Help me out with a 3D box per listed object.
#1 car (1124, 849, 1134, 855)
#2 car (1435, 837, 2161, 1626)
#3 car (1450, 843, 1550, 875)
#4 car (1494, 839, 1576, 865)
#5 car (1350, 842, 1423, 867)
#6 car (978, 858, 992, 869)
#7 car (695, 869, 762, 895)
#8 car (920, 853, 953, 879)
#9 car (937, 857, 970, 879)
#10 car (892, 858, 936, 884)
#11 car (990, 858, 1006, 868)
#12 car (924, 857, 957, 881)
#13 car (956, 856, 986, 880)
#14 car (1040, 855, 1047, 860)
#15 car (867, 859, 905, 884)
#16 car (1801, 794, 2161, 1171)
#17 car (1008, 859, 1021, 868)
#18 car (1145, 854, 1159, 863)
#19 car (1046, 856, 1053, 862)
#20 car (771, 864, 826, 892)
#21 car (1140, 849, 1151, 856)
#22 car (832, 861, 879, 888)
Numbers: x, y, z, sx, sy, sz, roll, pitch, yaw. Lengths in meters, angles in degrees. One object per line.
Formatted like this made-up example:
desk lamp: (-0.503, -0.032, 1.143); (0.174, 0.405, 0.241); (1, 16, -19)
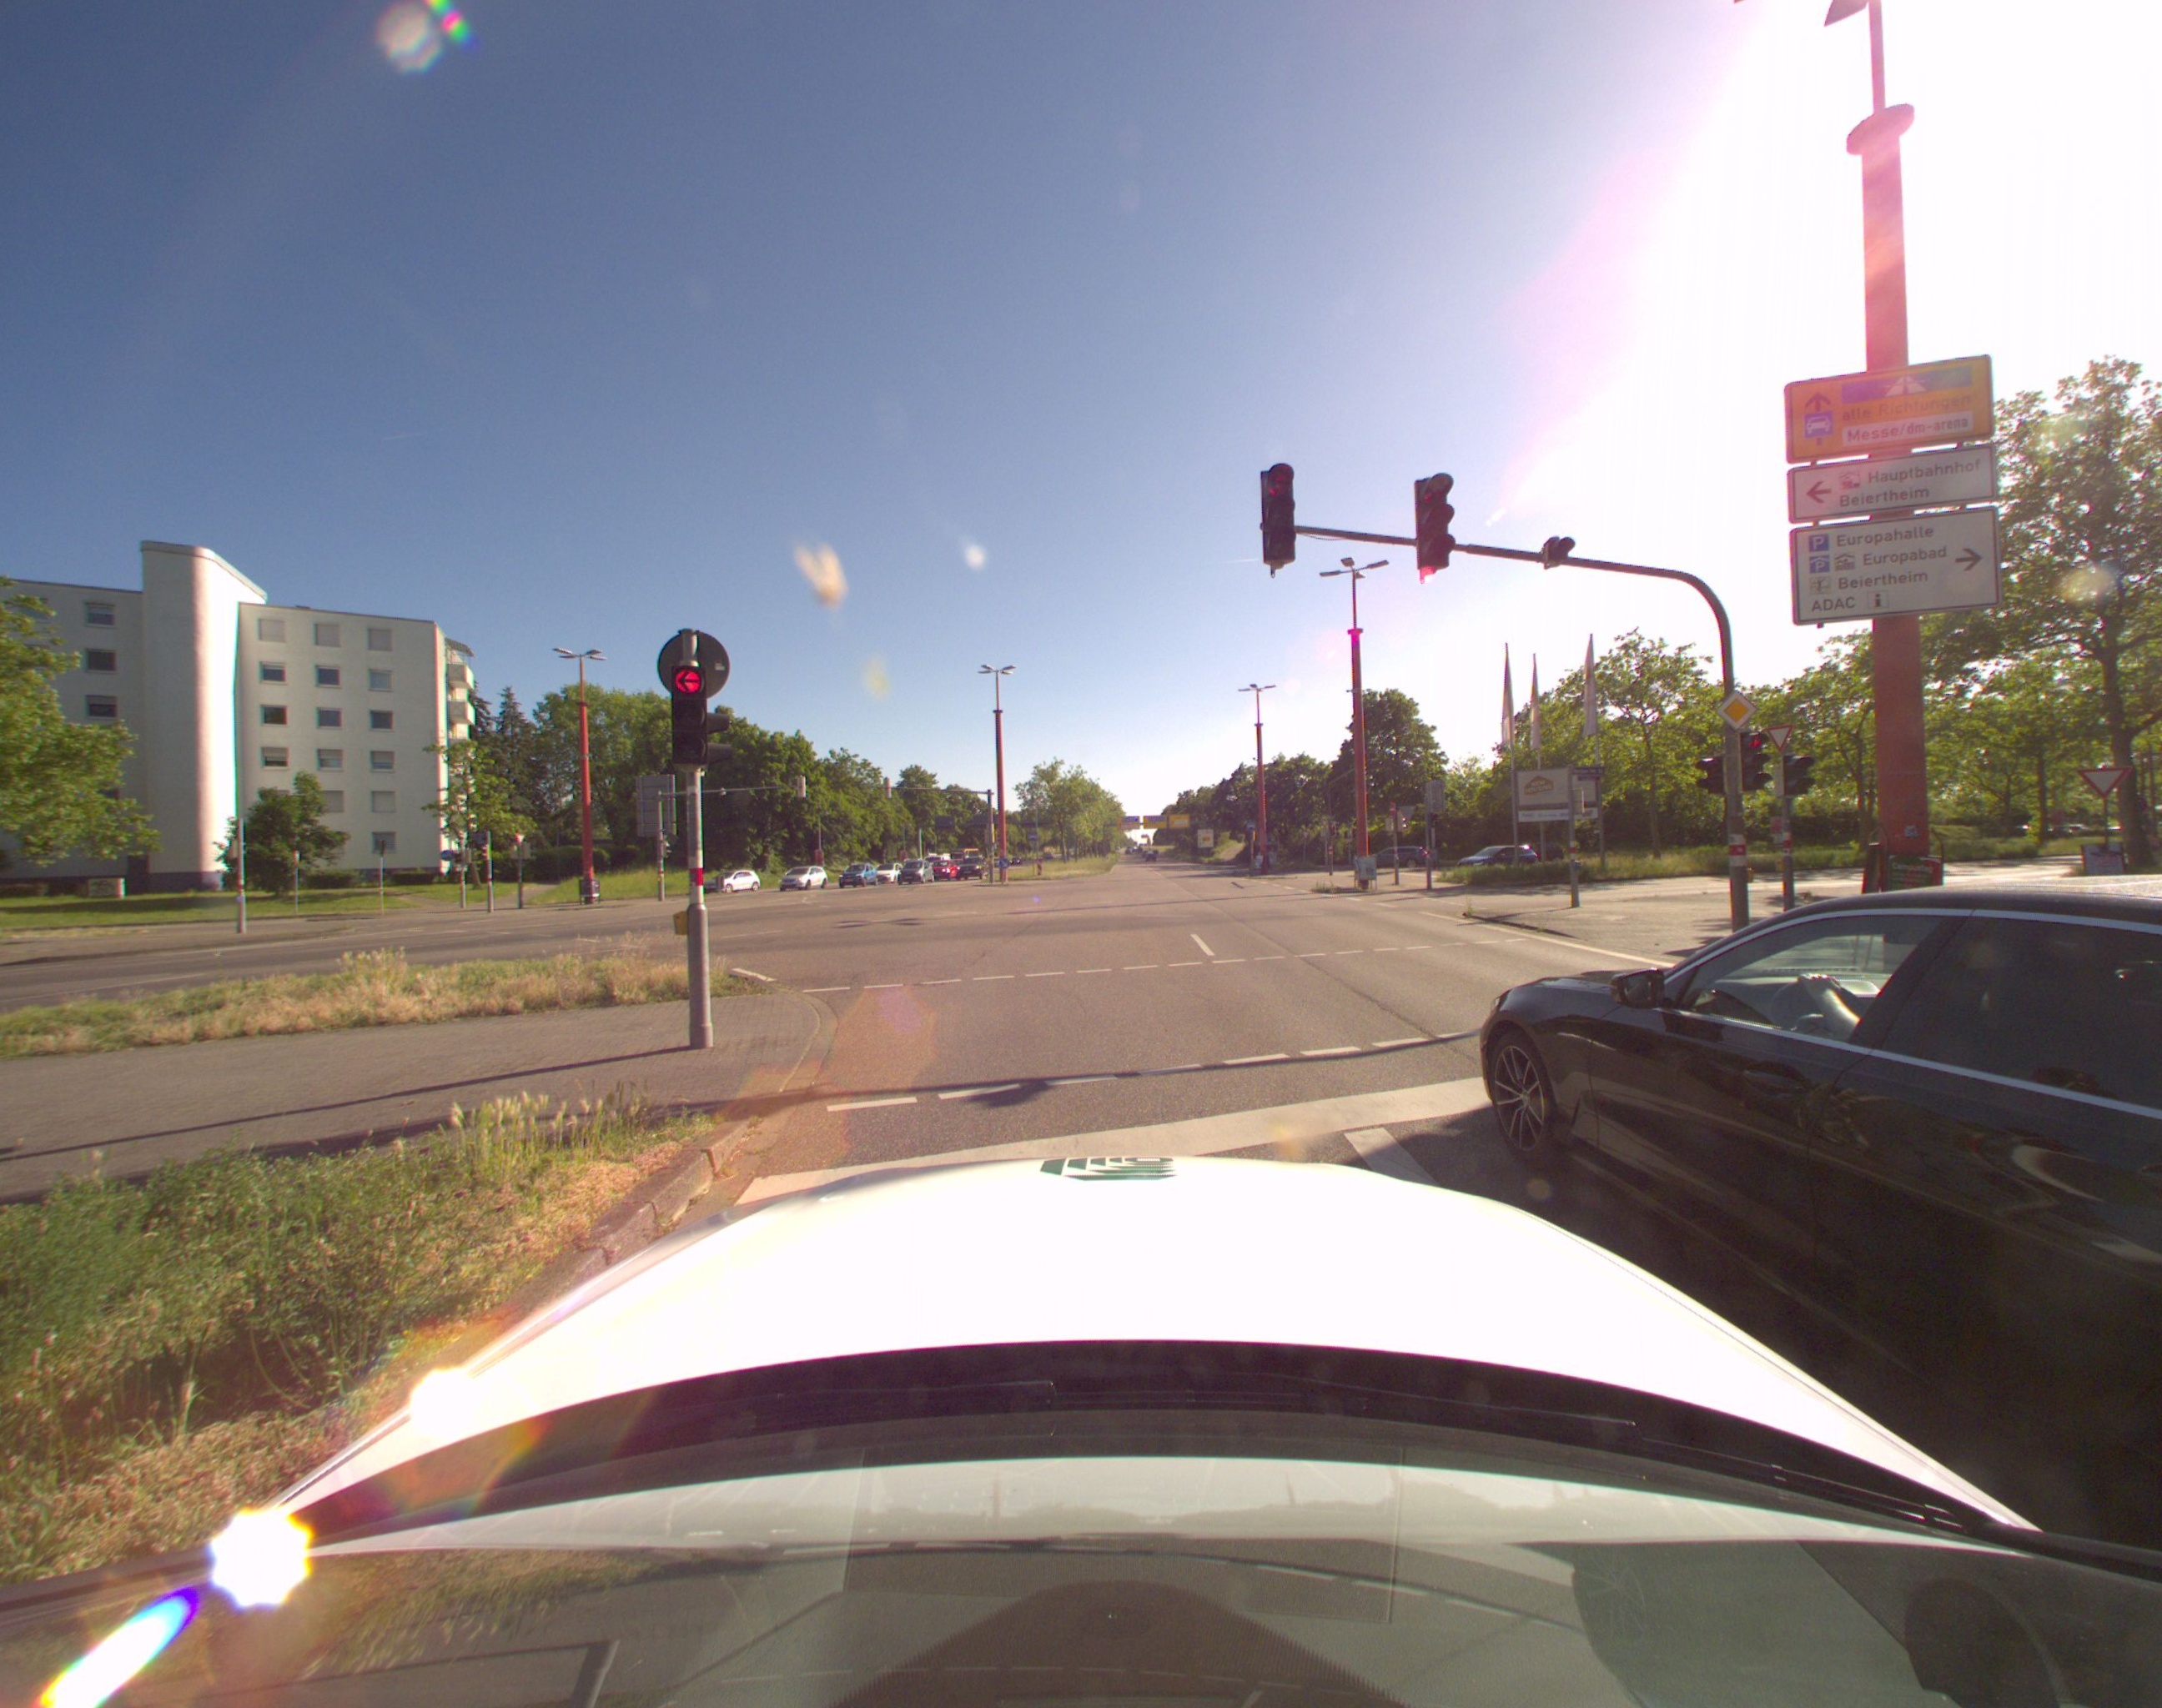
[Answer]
car: (13.227, -0.515, 226.188); (2.241, 1.573, 4.276); (-2, 0, -3)
car: (2.953, 0.667, 2.376); (1.986, 1.394, 4.479); (-2, 0, 2)
car: (20.683, 0.238, 40.240); (4.276, 1.428, 1.874); (-2, 0, -16)
car: (30.035, -0.117, 53.942); (4.259, 1.573, 2.162); (-2, 0, -5)
car: (21.017, 0.049, 56.038); (4.528, 1.573, 2.177); (-2, 0, 21)
car: (-14.806, 1.500, 125.830); (1.872, 1.573, 4.117); (-2, 0, -2)
car: (-23.172, 1.822, 53.700); (1.780, 1.452, 4.238); (-2, 0, 14)
car: (-12.730, 1.054, 71.990); (2.055, 2.193, 4.377); (-2, 0, 0)
car: (-10.062, 1.094, 64.657); (1.988, 1.573, 4.118); (-2, 0, -1)
car: (-10.729, 1.047, 52.584); (1.988, 1.573, 4.119); (-2, 0, -1)
car: (-12.538, 1.329, 123.496); (1.877, 1.454, 3.658); (-2, 0, 2)
car: (-10.100, 1.047, 58.875); (1.991, 1.573, 4.112); (-2, 0, -6)
car: (-7.563, 0.940, 56.493); (1.874, 1.573, 4.112); (-2, 0, -6)
car: (-10.351, 0.962, 224.495); (1.872, 1.573, 4.117); (-2, 0, -2)
car: (-13.735, 1.217, 57.527); (1.991, 1.573, 4.112); (-3, 0, -6)
car: (5.800, 0.562, 3.264); (1.959, 1.686, 4.479); (-1, 0, 2)
car: (-11.673, 1.586, 142.317); (1.814, 1.454, 3.658); (-2, 0, 2)
car: (12.211, 0.757, 140.296); (2.149, 1.573, 4.285); (-2, 0, 4)
car: (-7.973, 1.308, 205.389); (1.872, 1.573, 3.943); (-2, 0, -2)
car: (-17.690, 1.468, 51.185); (1.987, 1.573, 4.120); (-2, 0, 0)
car: (14.591, -0.371, 184.208); (2.153, 1.573, 4.277); (-2, 0, -2)
car: (-14.233, 1.285, 51.645); (1.989, 1.573, 4.116); (-2, 0, -3)
